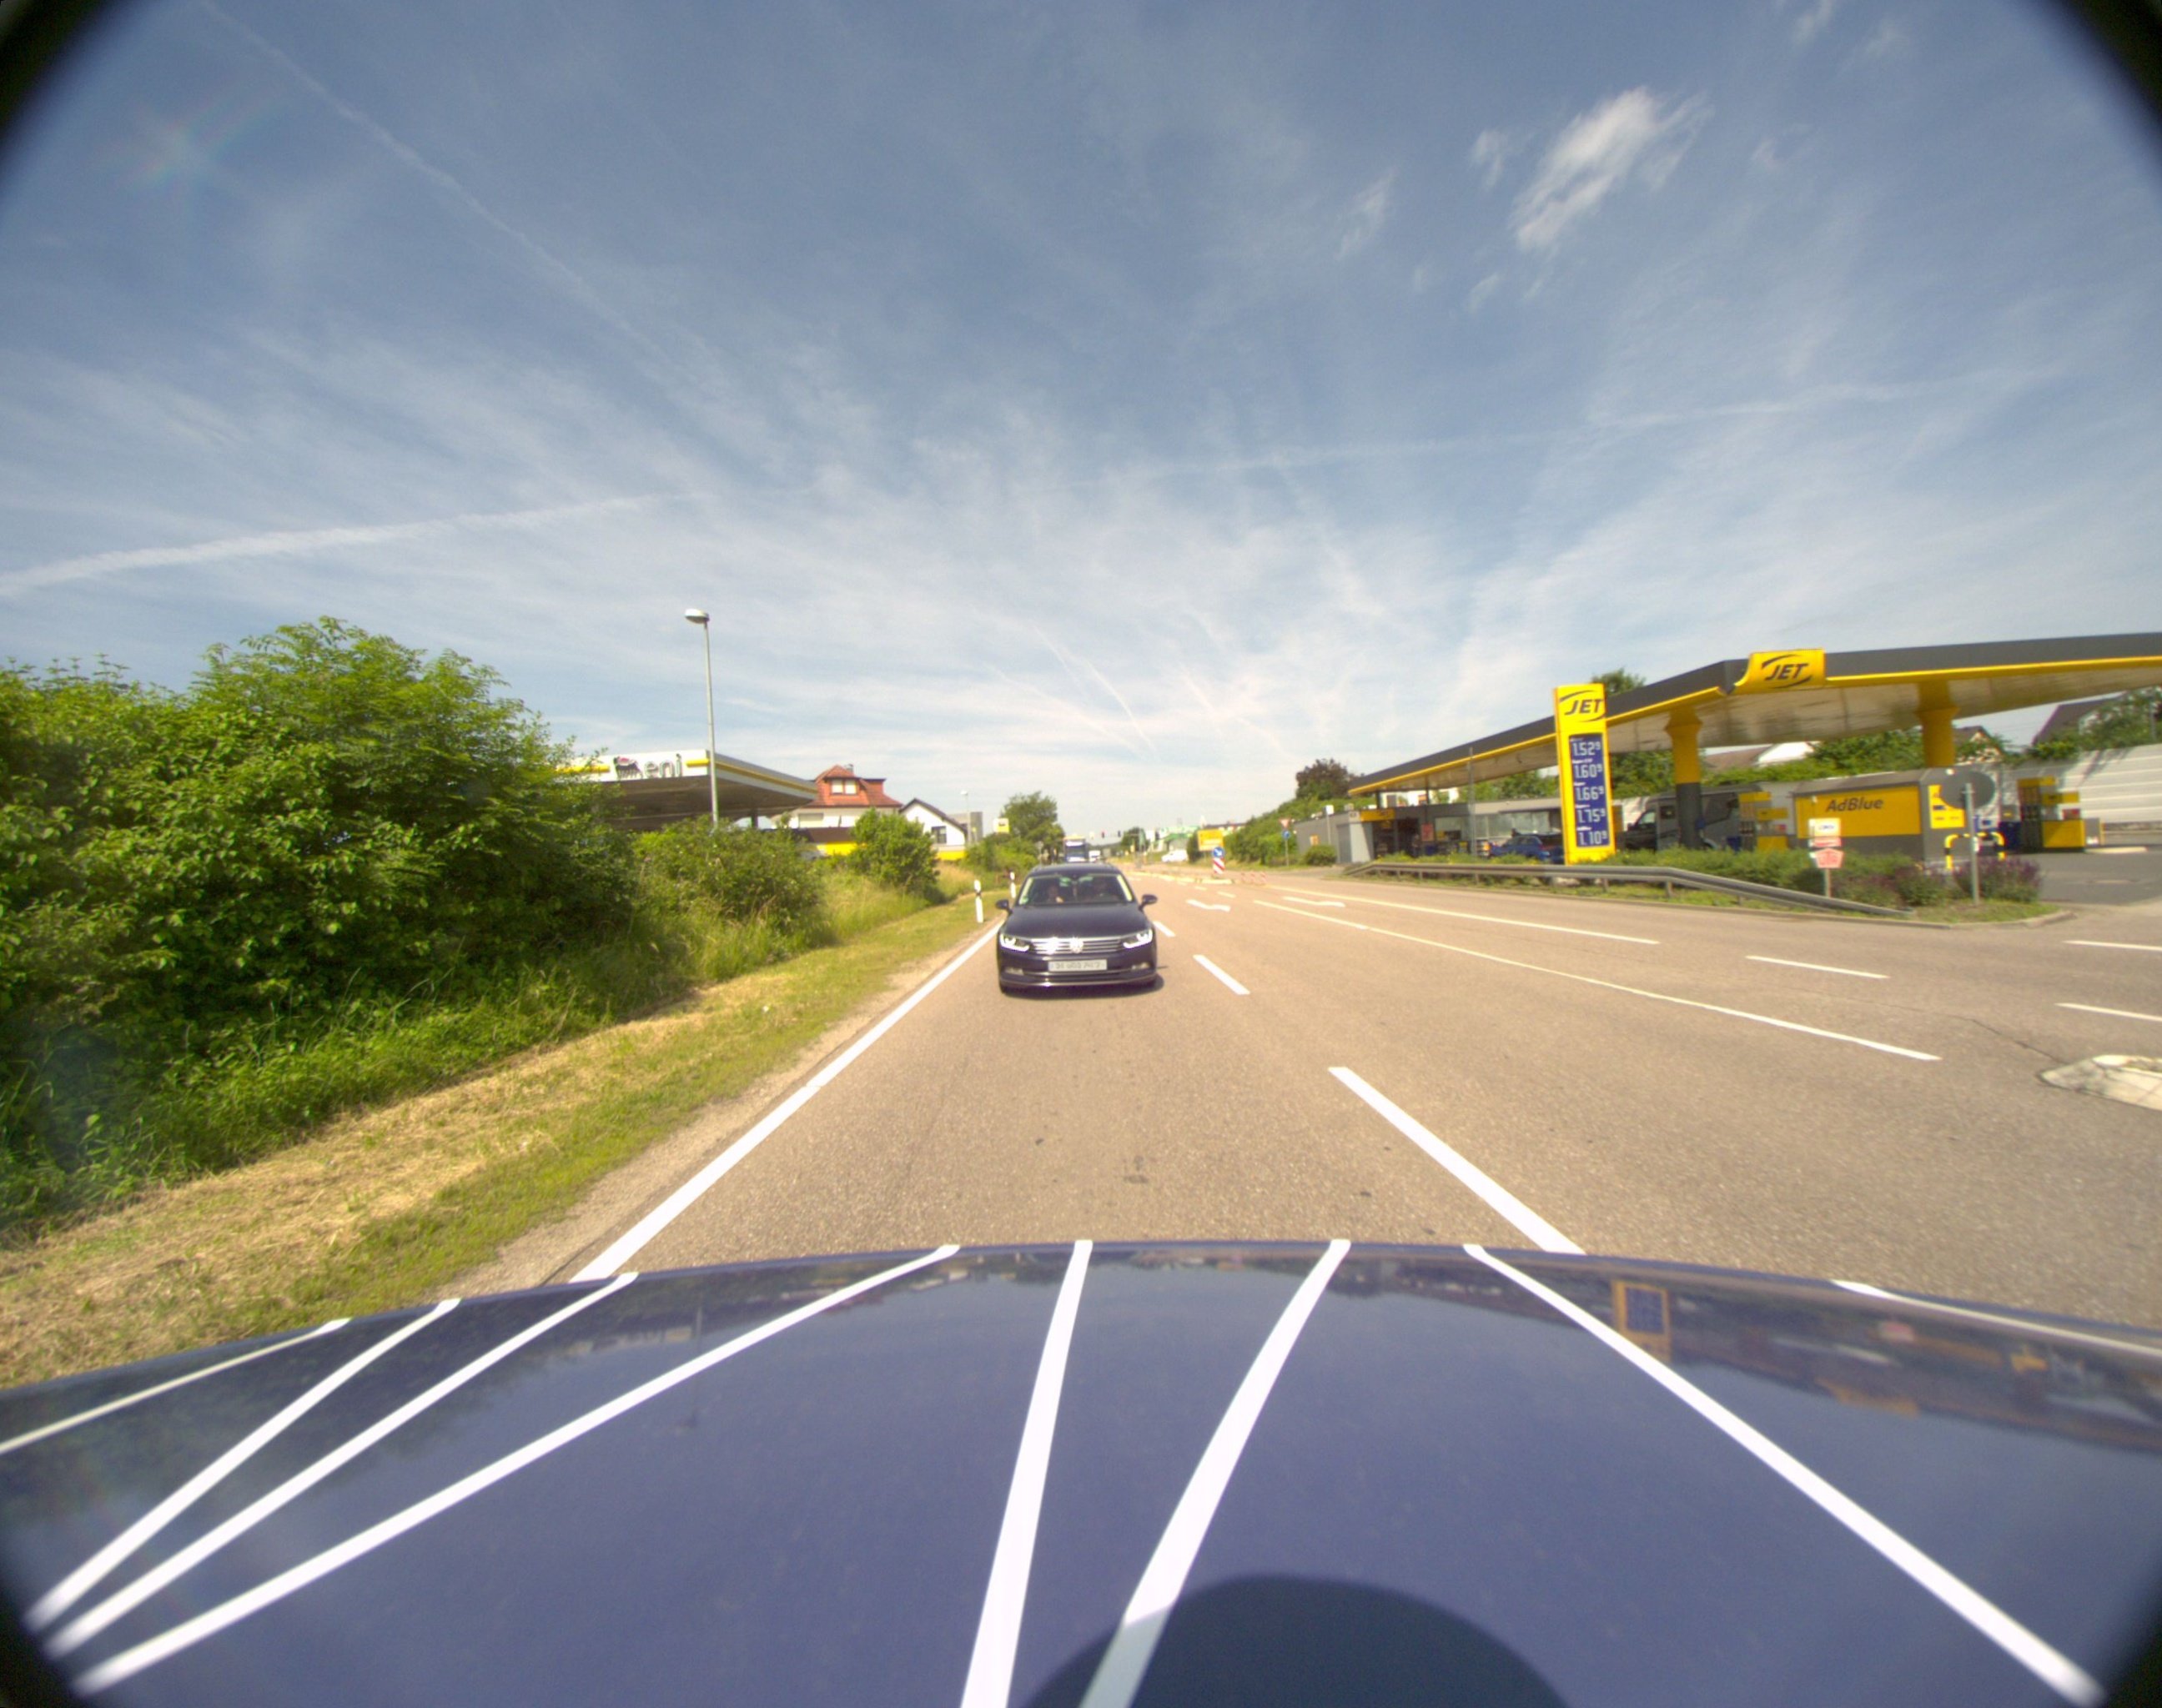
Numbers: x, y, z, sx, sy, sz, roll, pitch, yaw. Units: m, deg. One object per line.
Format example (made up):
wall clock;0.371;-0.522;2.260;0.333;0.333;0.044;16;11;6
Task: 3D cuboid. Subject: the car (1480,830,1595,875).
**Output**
car;18.745;-0.035;31.462;1.999;1.696;4.264;-2;0;-3

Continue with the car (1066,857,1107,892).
car;0.306;0.899;35.233;1.470;1.451;3.798;-2;0;6

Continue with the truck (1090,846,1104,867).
truck;3.328;0.500;161.694;2.855;3.999;12.916;-2;0;1

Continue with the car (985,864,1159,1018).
car;-0.068;0.939;10.407;1.756;1.493;4.925;-2;0;1

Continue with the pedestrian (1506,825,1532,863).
pedestrian;21.514;-0.477;37.322;0.798;1.827;0.640;-3;0;1

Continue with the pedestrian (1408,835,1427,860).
pedestrian;19.141;-0.364;43.207;0.913;1.419;0.495;-2;1;16

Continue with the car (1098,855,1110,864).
car;3.619;0.890;120.615;1.786;1.210;4.000;-3;0;2

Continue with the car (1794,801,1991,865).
car;23.984;-0.547;22.706;1.736;1.717;4.001;-1;0;3

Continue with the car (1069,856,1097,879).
car;0.163;0.920;52.631;1.814;1.466;3.974;-2;0;1

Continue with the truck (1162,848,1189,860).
truck;17.860;0.057;143.555;4.772;1.997;2.000;-3;0;-2

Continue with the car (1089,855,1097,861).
car;3.252;1.085;202.510;1.848;1.477;4.001;-3;0;3

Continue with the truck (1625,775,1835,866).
truck;23.566;-1.130;28.100;2.250;2.906;6.282;-3;1;-1

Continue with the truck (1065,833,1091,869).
truck;-0.287;-0.340;92.616;2.855;3.999;12.916;-2;0;1
